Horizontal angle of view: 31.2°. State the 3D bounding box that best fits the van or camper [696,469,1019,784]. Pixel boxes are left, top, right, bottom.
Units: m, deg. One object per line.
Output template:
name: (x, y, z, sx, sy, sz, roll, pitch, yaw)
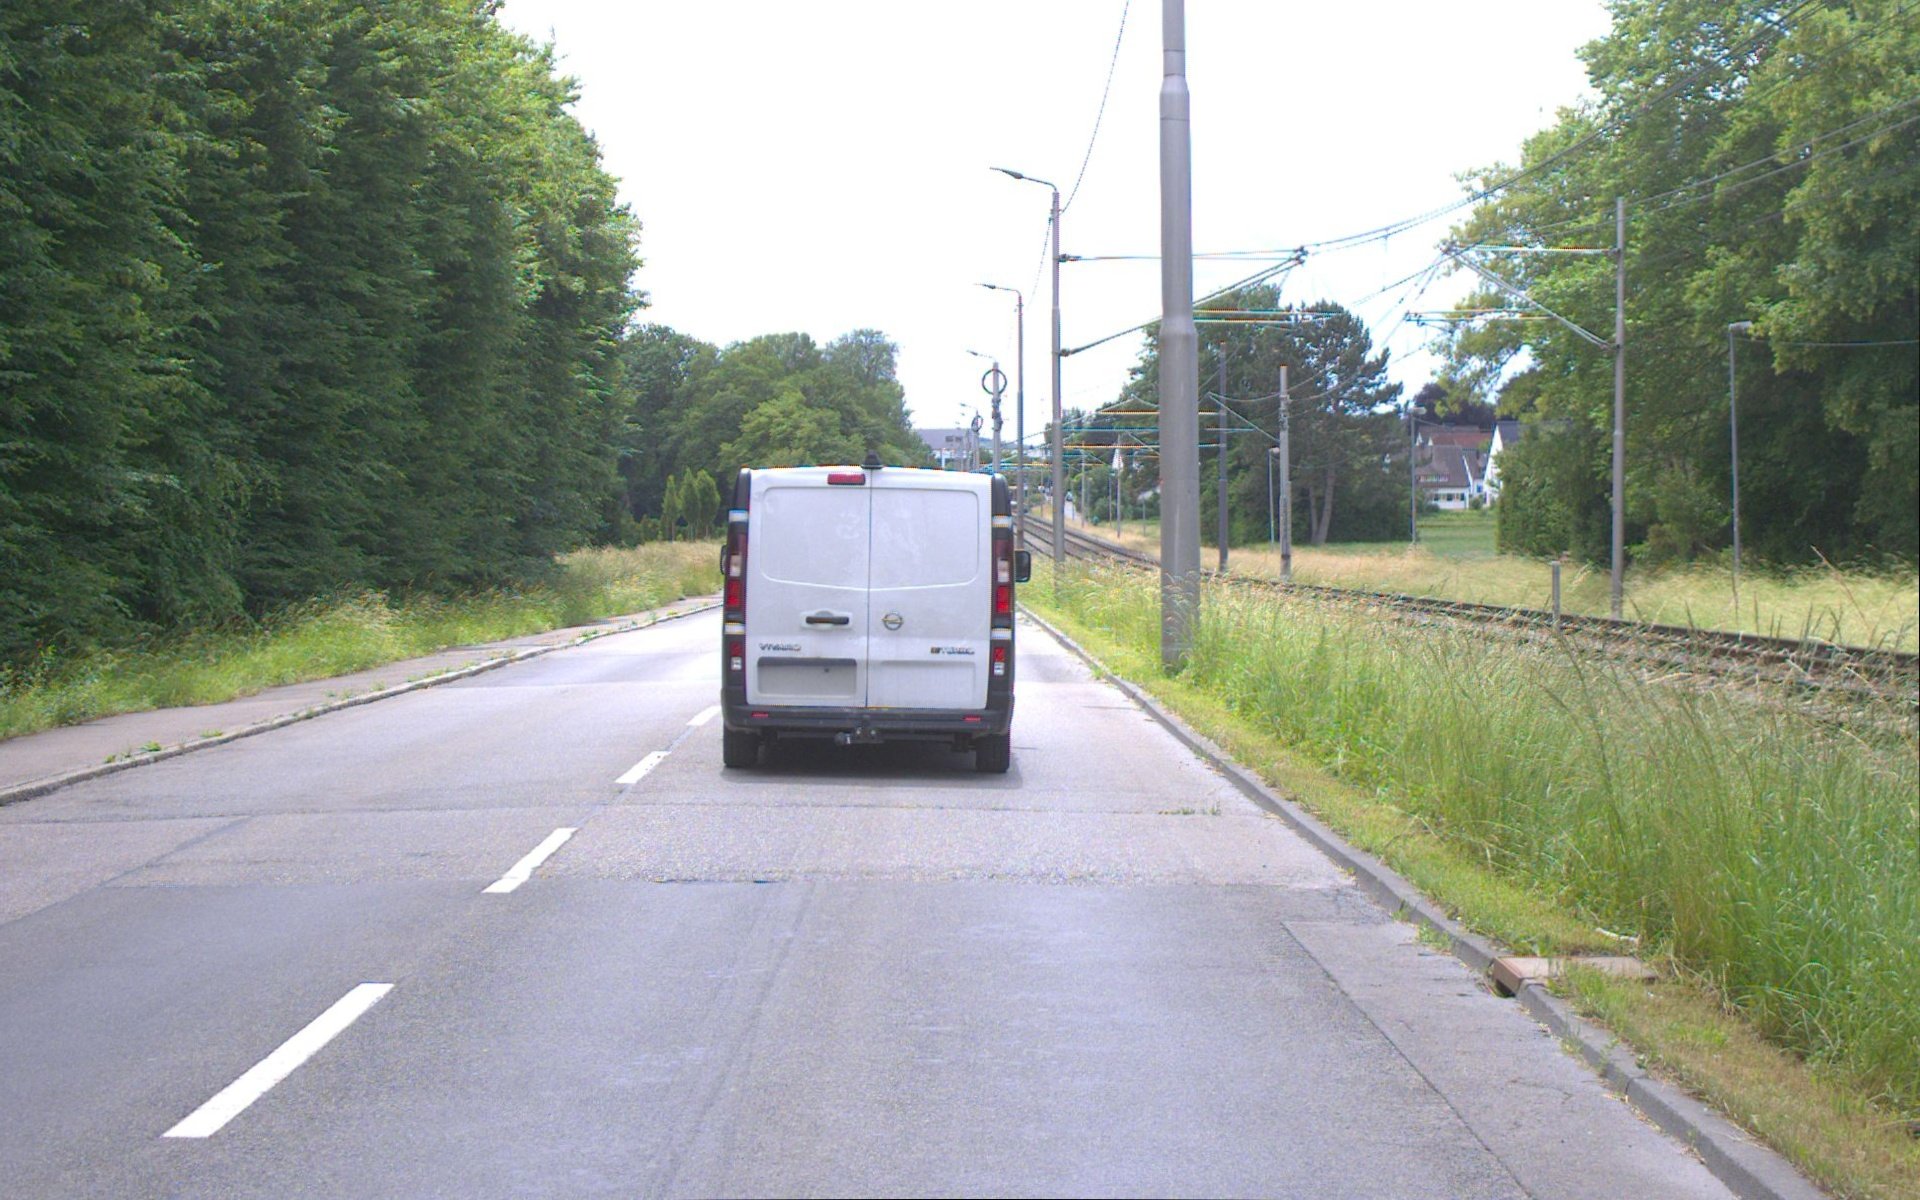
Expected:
van or camper: (-0.606, 0.108, 23.211, 1.942, 1.890, 4.285, 1, 1, 1)
